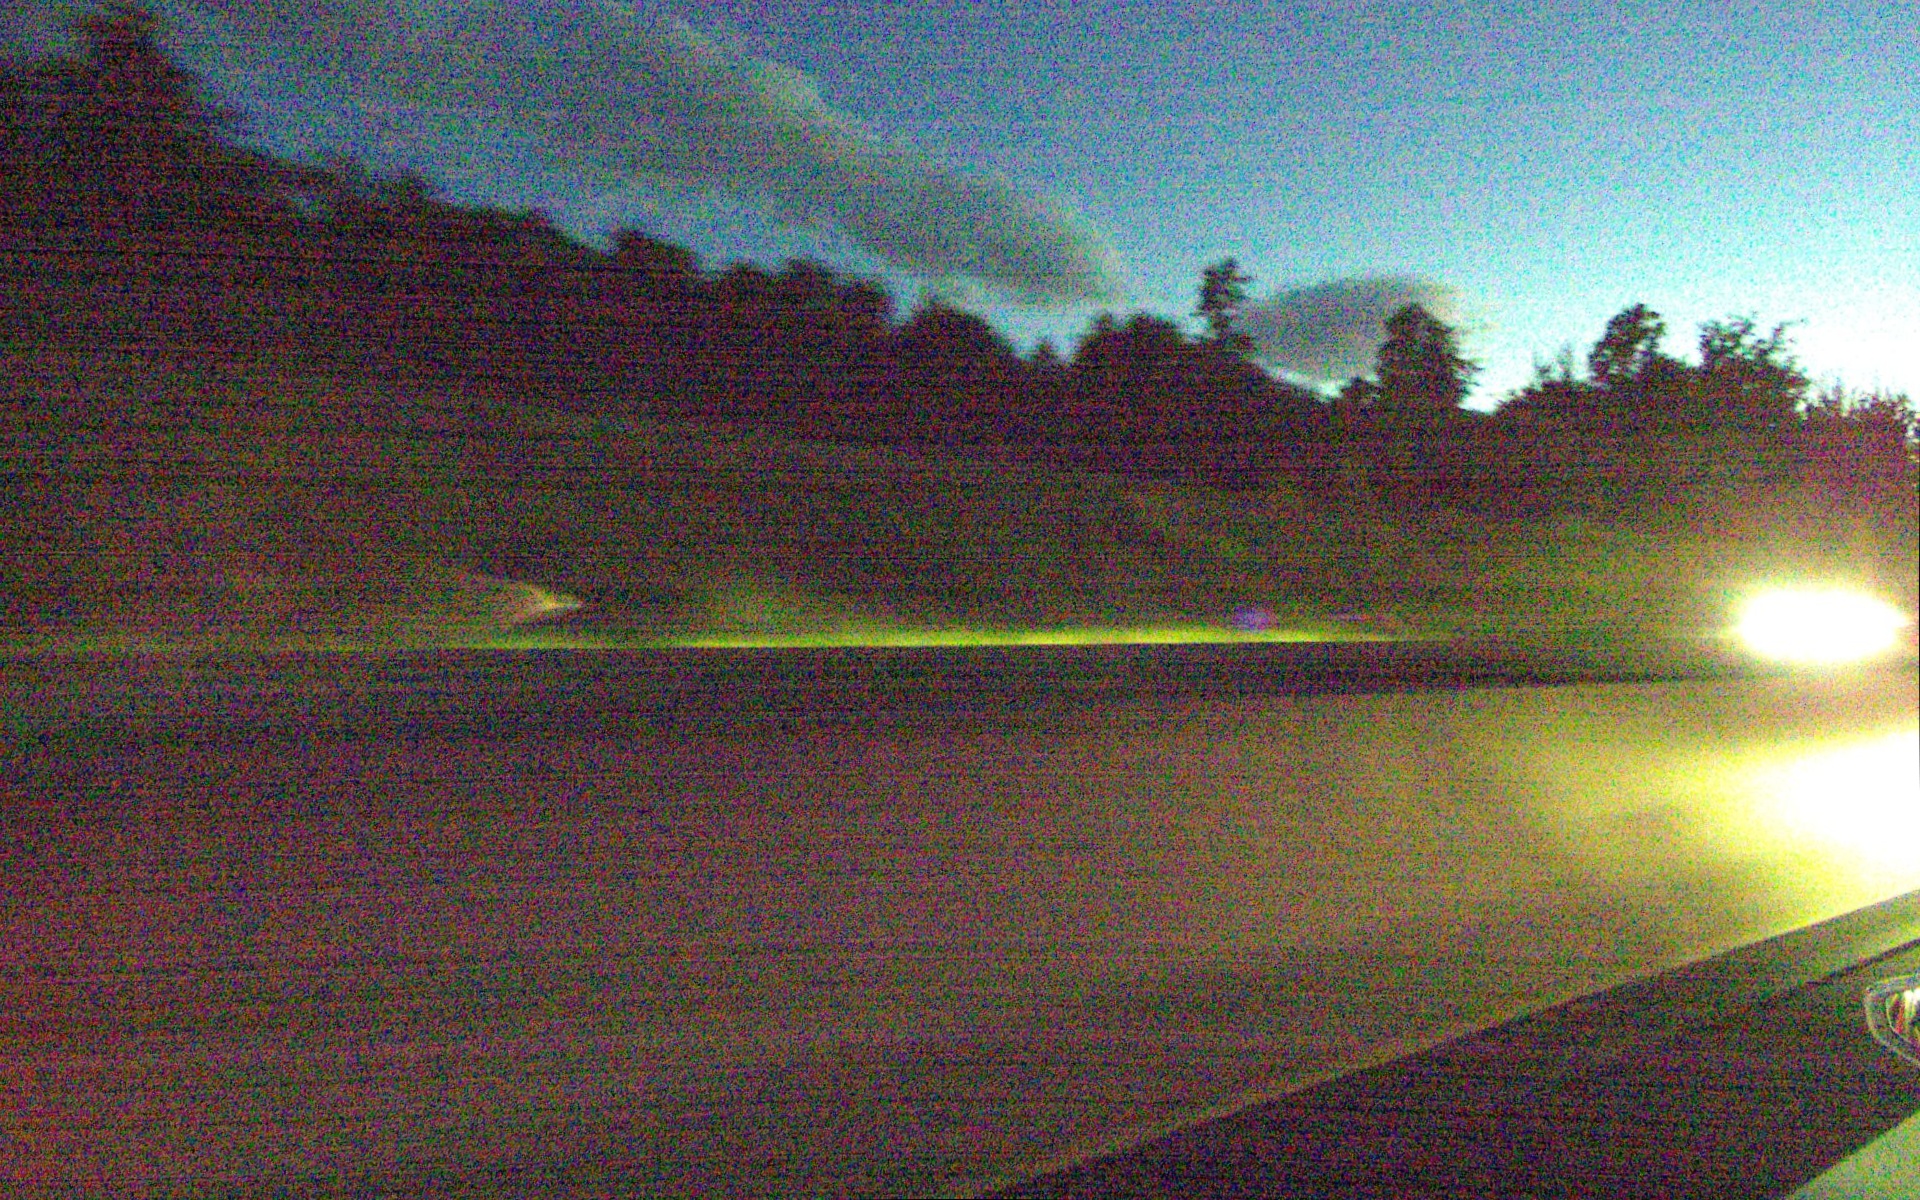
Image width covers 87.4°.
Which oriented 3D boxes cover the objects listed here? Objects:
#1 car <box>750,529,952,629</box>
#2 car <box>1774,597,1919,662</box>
[{"bbox_3d":[-2.369,-0.382,22.056,3.955,1.951,1.983,2,-2,-32],"label":"car"},{"bbox_3d":[27.758,0.898,31.364,5.111,1.800,1.982,1,2,-32],"label":"car"}]
